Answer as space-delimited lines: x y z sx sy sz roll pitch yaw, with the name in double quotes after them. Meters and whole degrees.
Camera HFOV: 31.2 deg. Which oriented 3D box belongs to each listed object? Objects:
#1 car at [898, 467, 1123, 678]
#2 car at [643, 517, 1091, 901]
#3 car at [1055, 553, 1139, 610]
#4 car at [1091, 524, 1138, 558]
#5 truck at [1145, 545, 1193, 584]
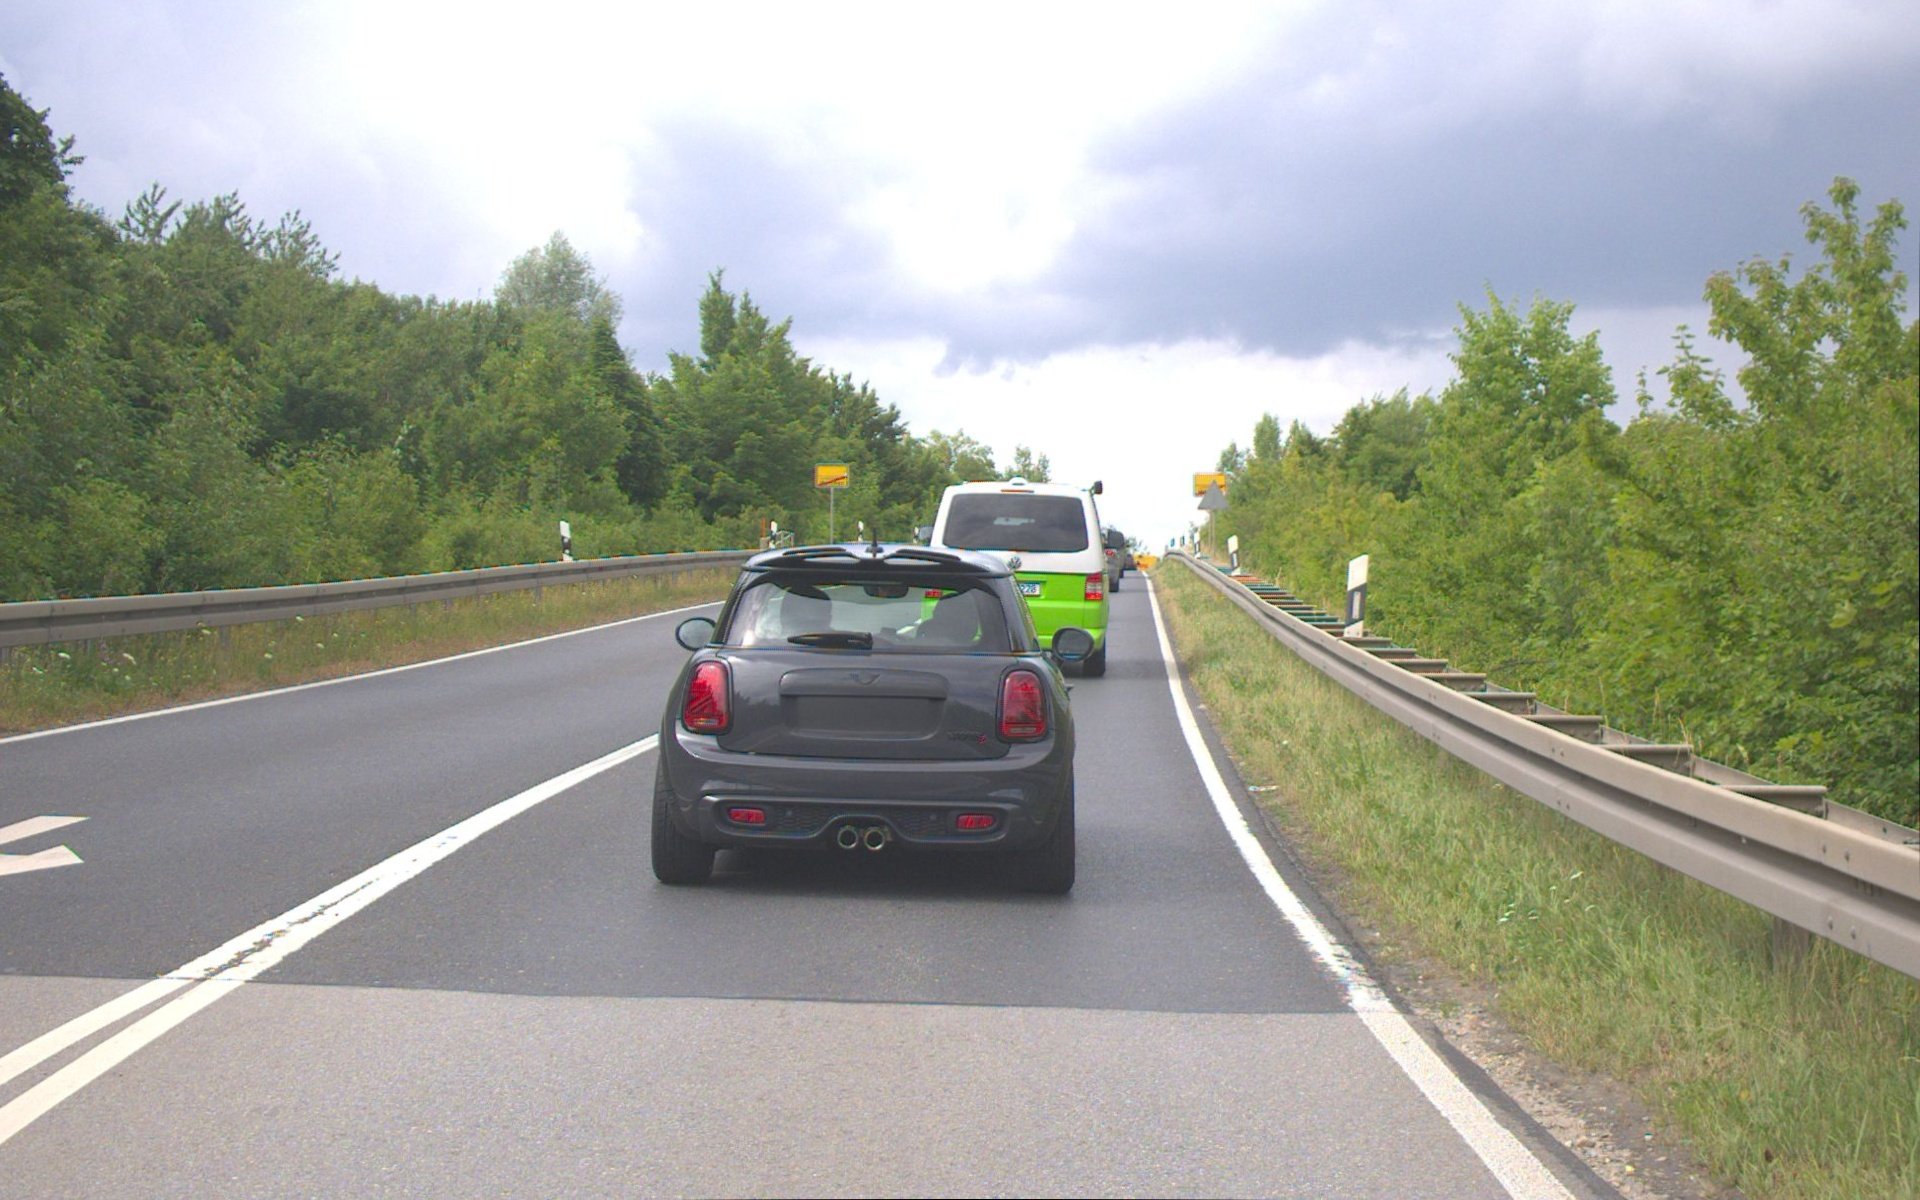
0.592 -0.313 35.830 2.022 2.006 4.000 2 1 4 "car"
-0.439 0.382 15.517 1.732 1.450 4.001 1 2 -2 "car"
3.092 -0.413 76.892 1.695 1.218 3.999 0 0 5 "car"
6.143 -2.347 136.476 1.695 1.315 4.000 0 2 5 "car"
13.917 -2.394 228.217 2.910 2.364 10.450 -1 1 5 "truck"
